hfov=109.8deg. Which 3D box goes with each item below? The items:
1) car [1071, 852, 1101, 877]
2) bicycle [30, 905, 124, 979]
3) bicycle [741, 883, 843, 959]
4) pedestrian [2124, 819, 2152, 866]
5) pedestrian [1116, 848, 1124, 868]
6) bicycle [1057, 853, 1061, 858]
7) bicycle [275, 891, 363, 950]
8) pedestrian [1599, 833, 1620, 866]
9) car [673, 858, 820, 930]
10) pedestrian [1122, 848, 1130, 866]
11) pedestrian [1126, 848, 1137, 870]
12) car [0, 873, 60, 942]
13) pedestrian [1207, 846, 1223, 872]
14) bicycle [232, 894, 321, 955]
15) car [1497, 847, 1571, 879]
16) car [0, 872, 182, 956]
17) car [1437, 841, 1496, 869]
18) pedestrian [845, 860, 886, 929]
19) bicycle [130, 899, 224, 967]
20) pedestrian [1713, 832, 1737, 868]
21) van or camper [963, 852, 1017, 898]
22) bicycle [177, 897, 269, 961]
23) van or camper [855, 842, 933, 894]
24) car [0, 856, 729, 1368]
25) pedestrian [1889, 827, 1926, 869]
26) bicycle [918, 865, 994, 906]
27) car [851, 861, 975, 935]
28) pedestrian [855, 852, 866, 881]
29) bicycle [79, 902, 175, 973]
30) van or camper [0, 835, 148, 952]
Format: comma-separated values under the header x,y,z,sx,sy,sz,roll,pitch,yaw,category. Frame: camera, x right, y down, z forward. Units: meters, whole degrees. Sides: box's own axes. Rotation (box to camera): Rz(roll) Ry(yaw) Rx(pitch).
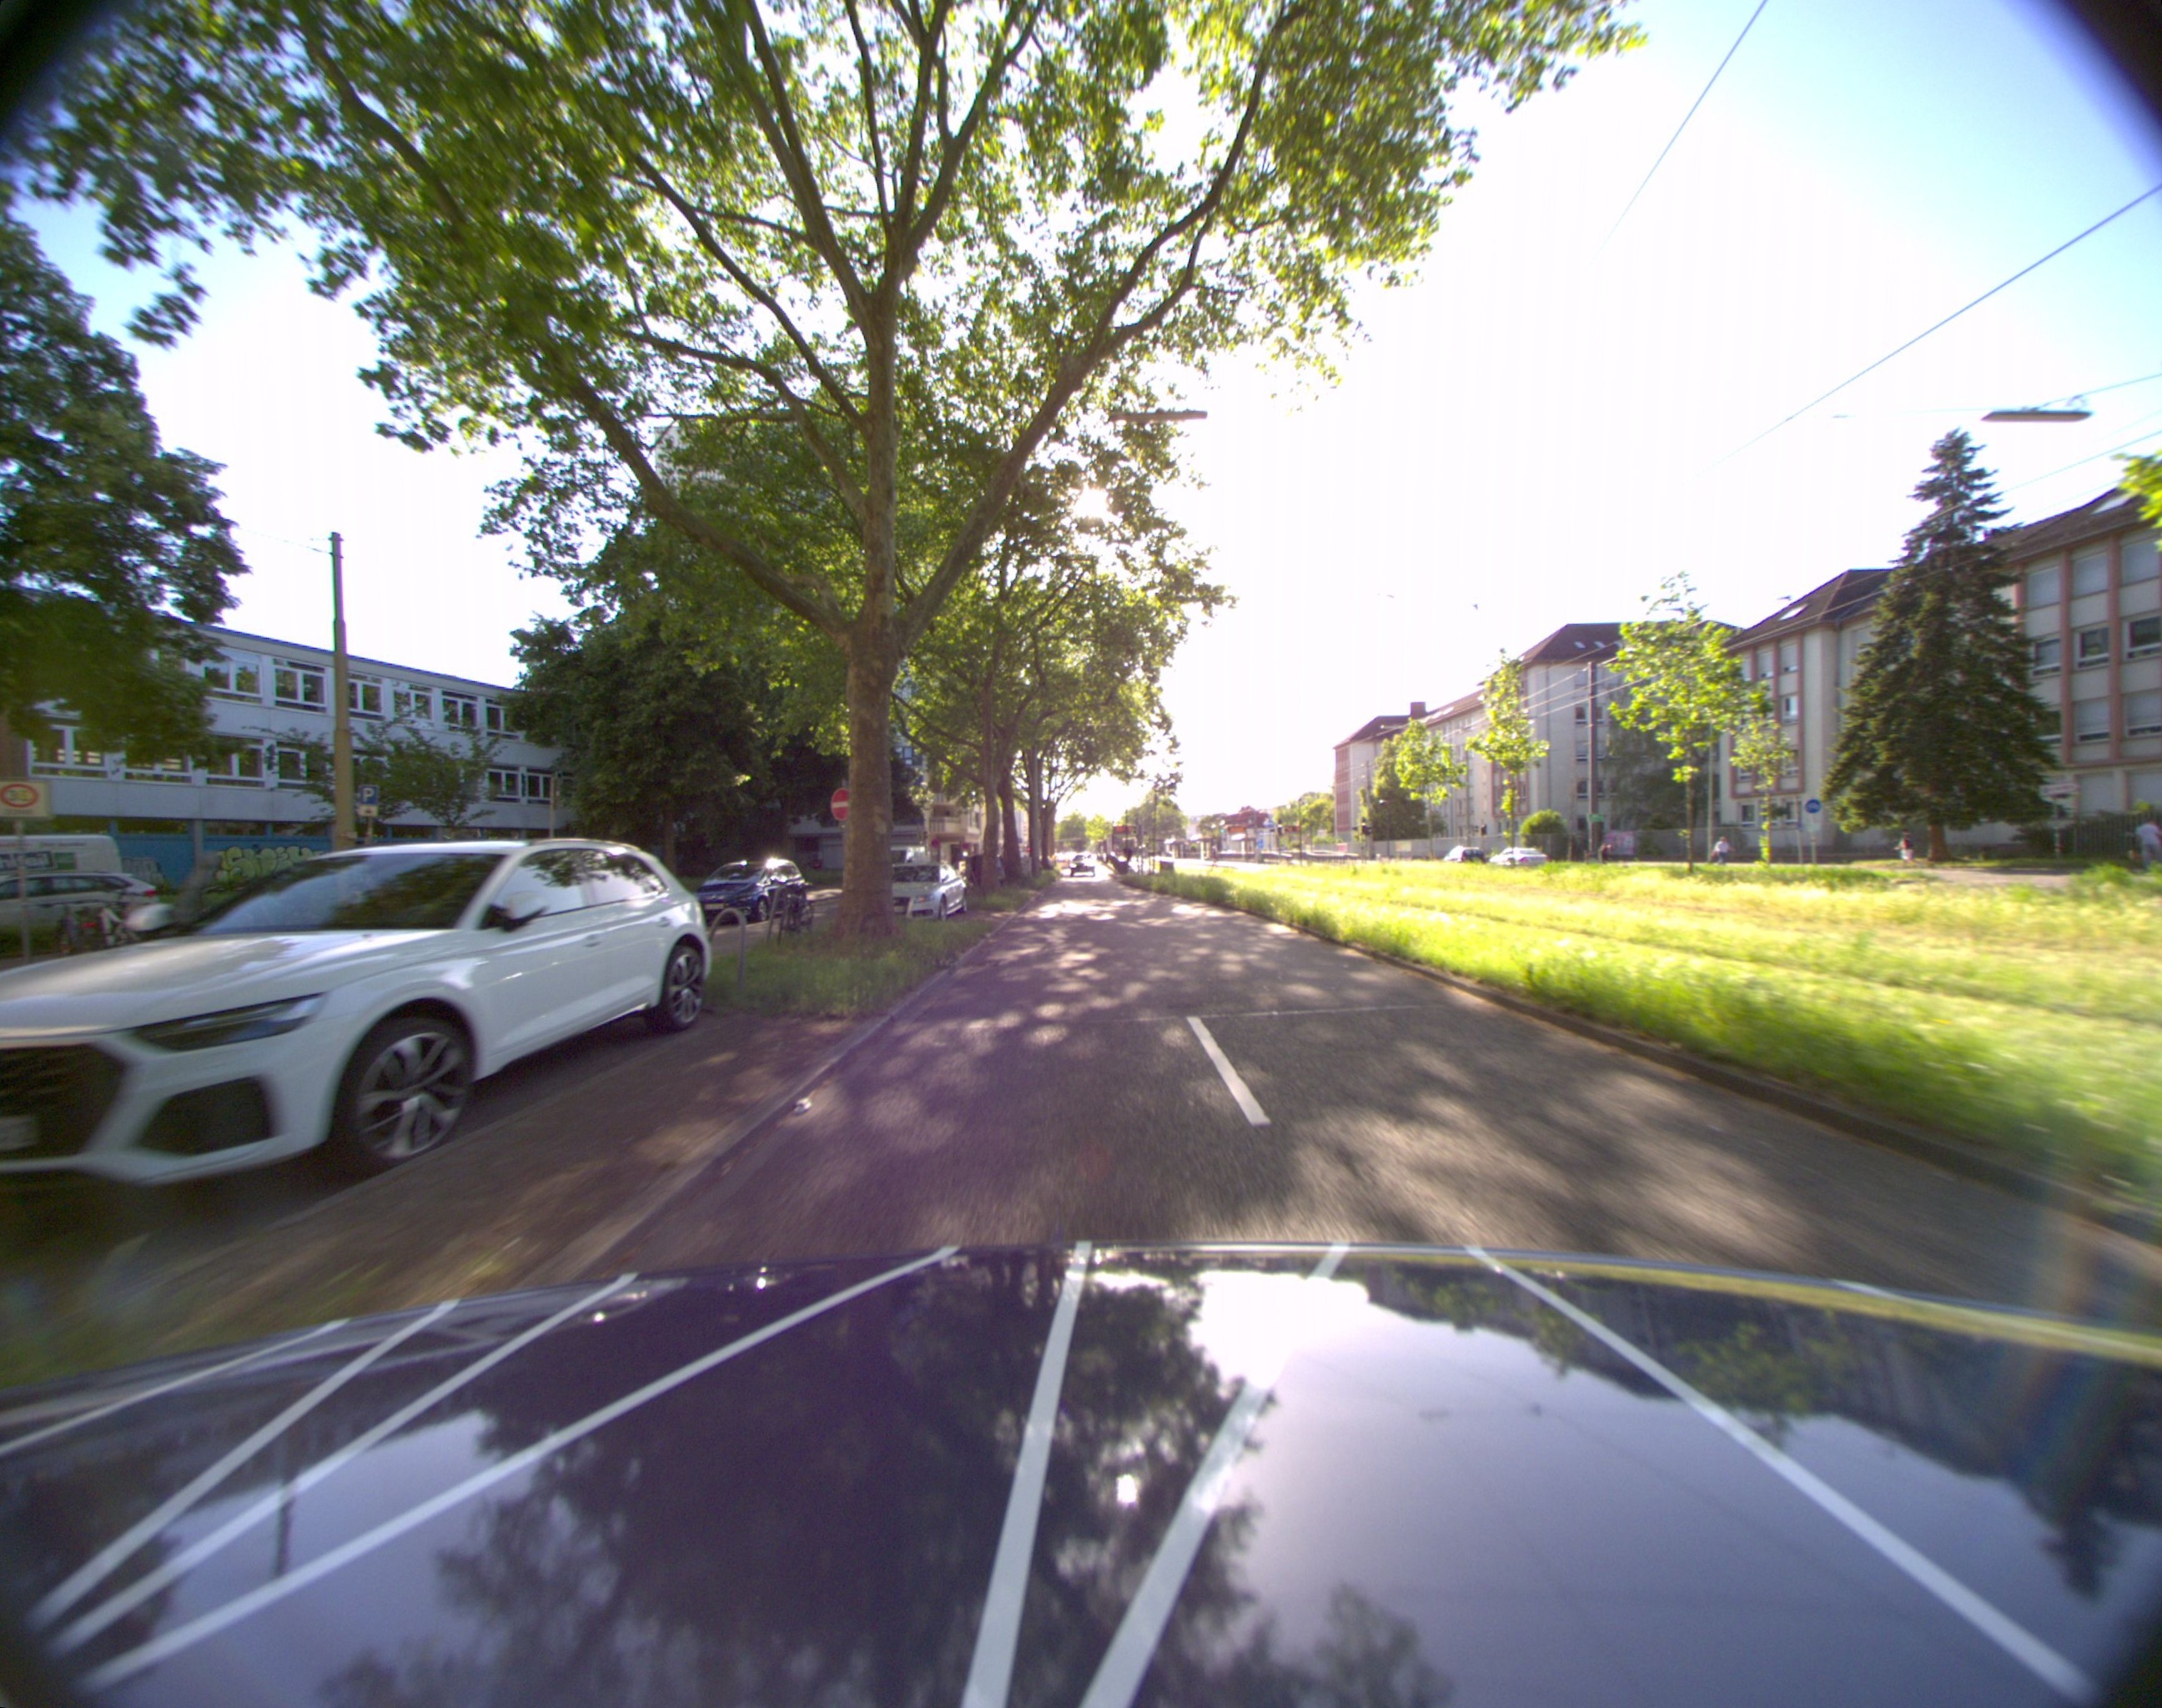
x,y,z,sx,sy,sz,roll,pitch,yaw,category
0.418,0.742,56.517,1.979,1.660,4.620,-2,0,2,car
-16.513,1.416,12.489,2.140,1.097,0.473,-1,1,25,bicycle
-4.218,0.938,11.287,0.640,0.920,2.164,-2,0,1,bicycle
38.282,-0.414,27.517,0.376,1.686,0.449,-2,1,7,pedestrian
3.853,0.388,75.454,0.669,2.002,0.716,-2,1,2,pedestrian
-6.100,0.385,208.355,0.693,1.208,2.299,-2,0,5,bicycle
-15.317,1.313,15.256,2.191,1.097,0.509,-1,1,25,bicycle
33.134,-0.294,47.642,0.664,2.002,0.860,-1,1,0,pedestrian
-9.327,1.024,21.774,1.824,1.732,5.167,-1,0,1,car
4.389,0.298,74.197,0.683,1.773,0.754,-2,1,2,pedestrian
3.839,0.398,57.870,0.714,1.670,0.772,-2,1,-1,pedestrian
-28.180,1.383,17.728,1.996,1.659,4.750,-1,0,15,car
9.142,0.312,51.694,0.955,1.726,0.730,-2,0,3,pedestrian
-15.535,1.334,14.657,2.140,1.097,0.509,-1,1,25,bicycle
24.641,0.444,41.486,1.769,1.613,4.477,-1,0,7,car
-22.825,1.285,16.098,1.996,1.618,4.394,-1,0,15,car
25.454,0.064,50.316,1.998,1.697,4.150,-1,0,4,car
-5.307,0.982,18.742,0.689,1.601,0.712,-4,0,1,pedestrian
-16.042,1.375,13.471,2.140,1.097,0.509,-1,1,25,bicycle
33.110,-0.196,39.060,0.694,1.826,0.573,-1,1,0,pedestrian
-3.461,0.751,28.604,1.506,1.578,2.836,-2,0,-16,van or camper
-15.808,1.352,13.989,2.140,1.097,0.509,-1,1,25,bicycle
-9.023,0.608,37.304,2.297,2.273,5.822,-2,1,0,van or camper
-4.262,0.858,4.821,1.908,1.626,4.823,-1,0,-2,car
34.420,-0.248,31.662,0.683,1.686,0.823,-2,1,-18,pedestrian
-3.650,0.913,22.277,2.075,1.118,0.676,-2,1,-1,bicycle
-3.785,0.927,18.061,1.758,1.390,5.026,-2,0,1,car
-13.316,0.757,45.859,0.582,1.686,0.625,-2,1,-17,pedestrian
-16.283,1.390,12.961,2.140,1.097,0.509,-1,1,25,bicycle
-25.403,0.908,16.782,2.150,2.621,5.594,-1,0,16,van or camper
